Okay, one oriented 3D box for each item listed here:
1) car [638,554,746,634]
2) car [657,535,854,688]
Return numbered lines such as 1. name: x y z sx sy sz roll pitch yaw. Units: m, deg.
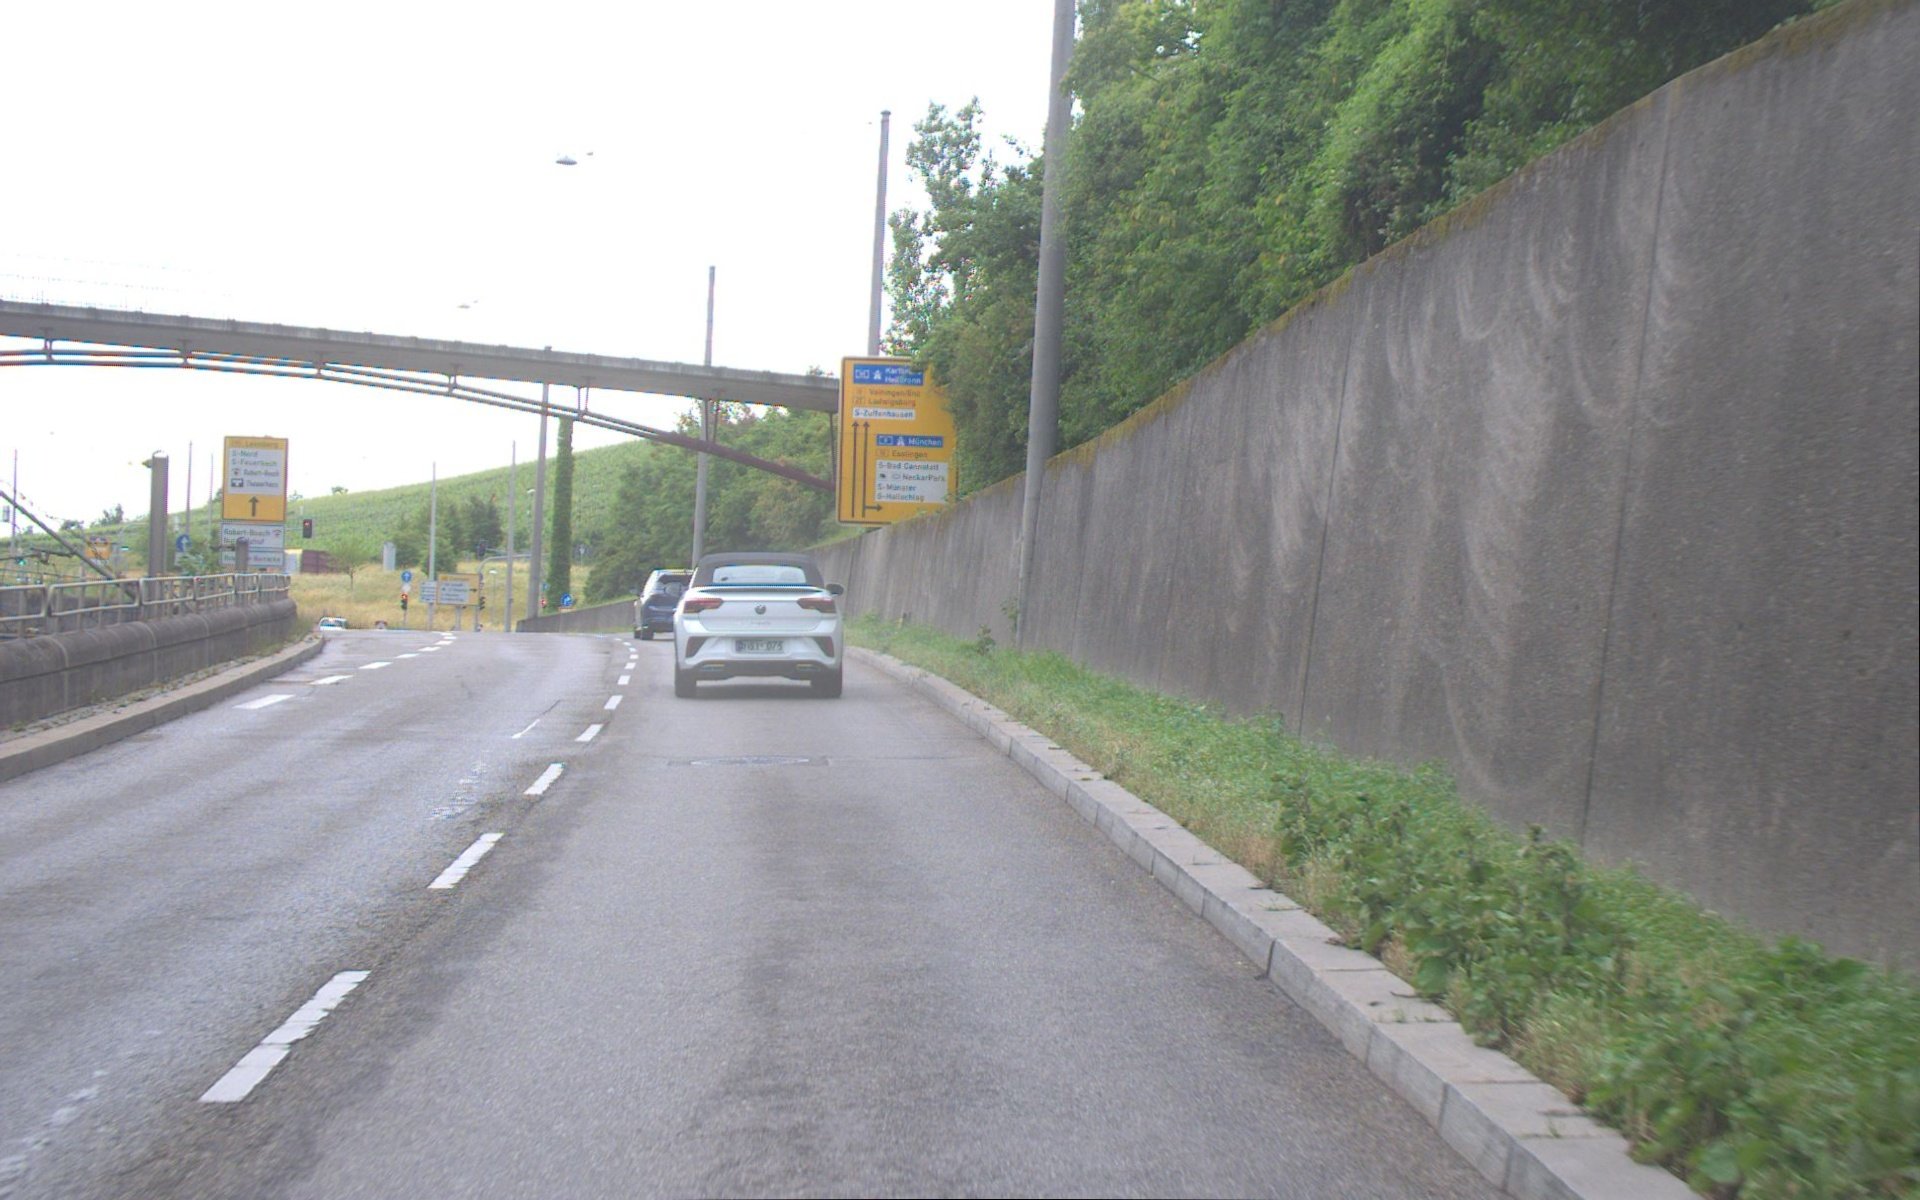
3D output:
1. car: -5.497 -0.150 70.940 1.926 1.594 4.062 0 1 0
2. car: -2.292 0.090 37.601 1.995 1.573 4.126 0 1 -6
